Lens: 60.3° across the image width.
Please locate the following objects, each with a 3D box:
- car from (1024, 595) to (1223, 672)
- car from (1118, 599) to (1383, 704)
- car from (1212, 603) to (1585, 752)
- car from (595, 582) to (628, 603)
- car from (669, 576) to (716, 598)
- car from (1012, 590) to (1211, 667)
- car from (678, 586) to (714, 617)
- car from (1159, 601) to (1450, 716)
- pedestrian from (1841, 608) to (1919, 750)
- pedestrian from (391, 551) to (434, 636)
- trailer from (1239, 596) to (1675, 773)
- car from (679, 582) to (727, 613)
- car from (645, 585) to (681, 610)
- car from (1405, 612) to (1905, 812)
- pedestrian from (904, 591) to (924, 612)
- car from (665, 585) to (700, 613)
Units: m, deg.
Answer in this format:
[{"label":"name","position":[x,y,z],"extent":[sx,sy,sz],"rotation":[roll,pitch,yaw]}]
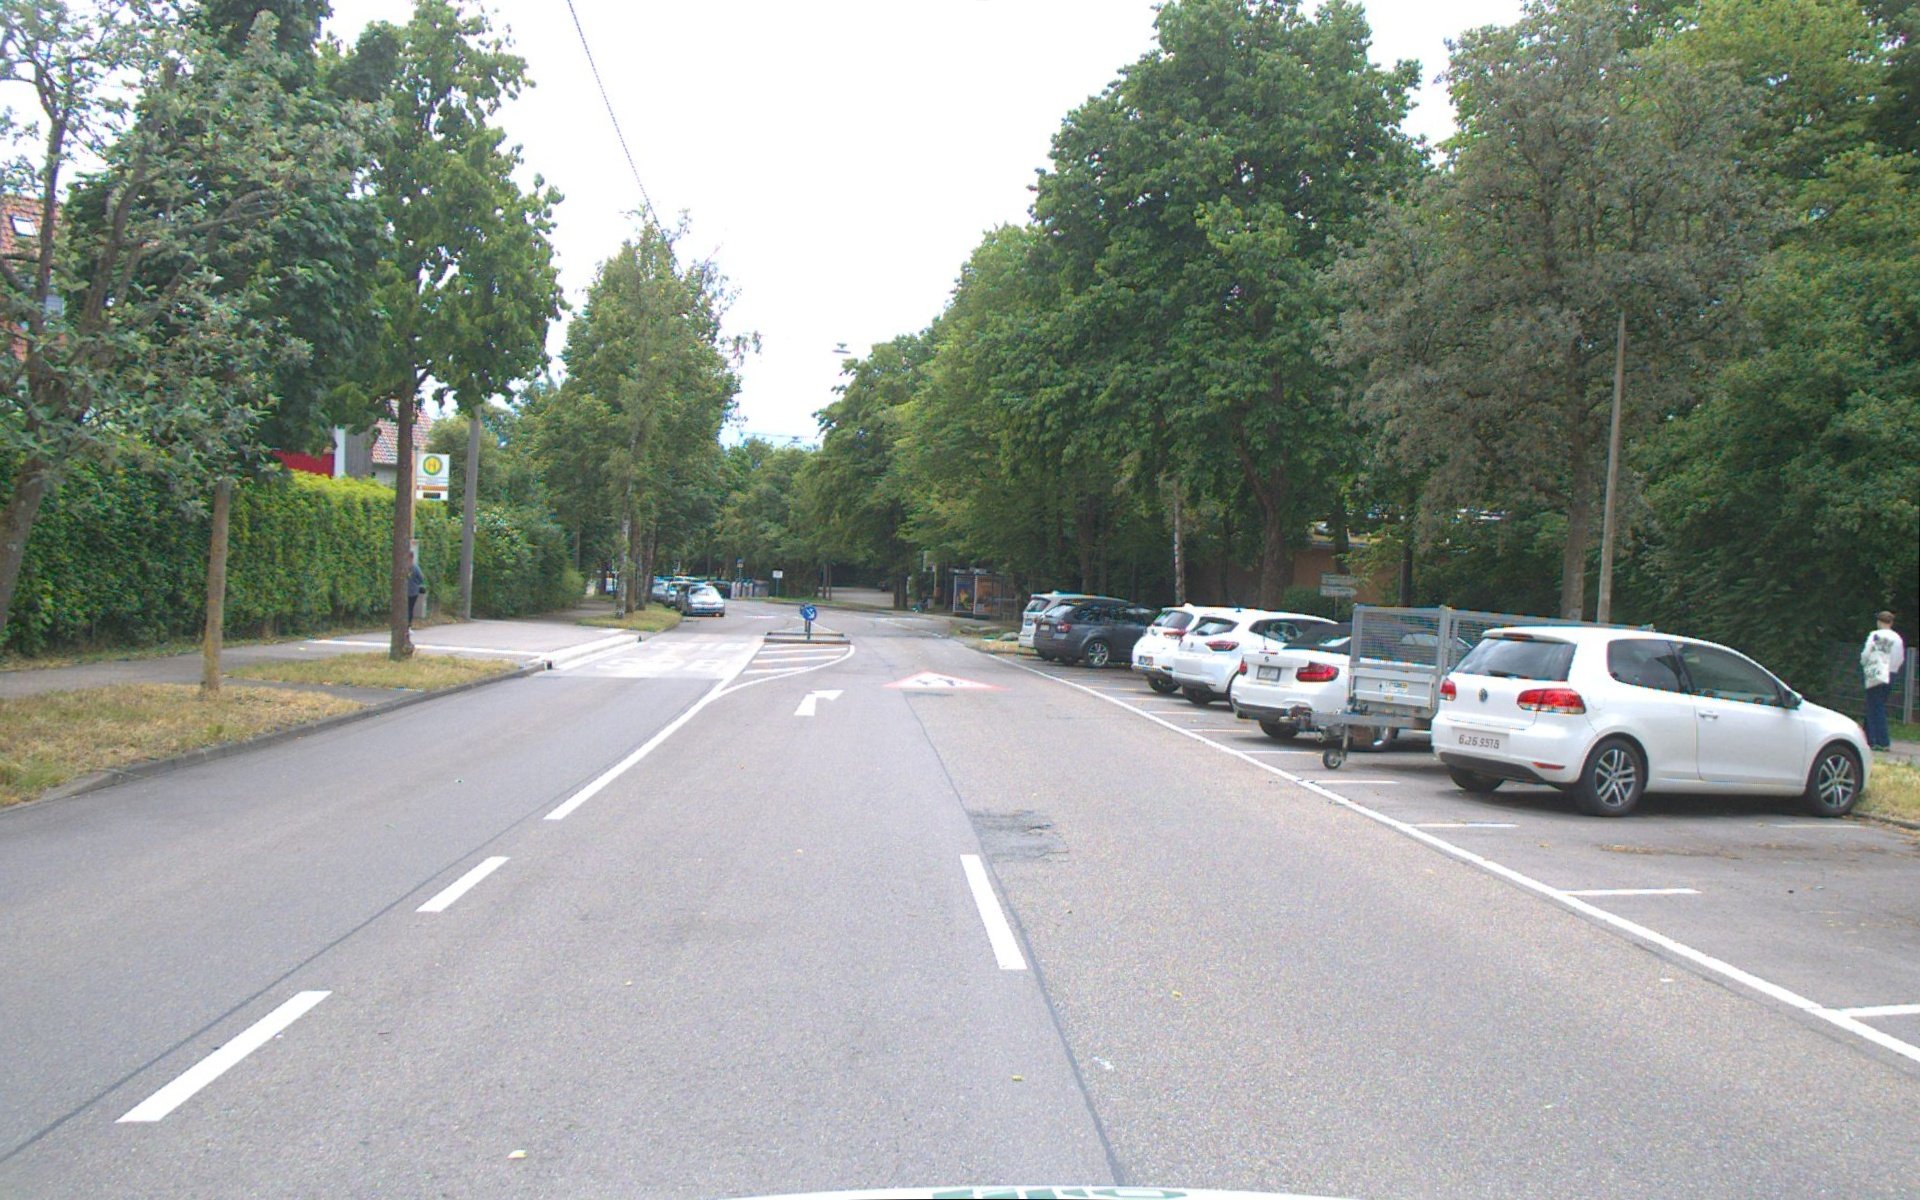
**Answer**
[{"label":"car","position":[3.675,0.750,37.428],"extent":[4.066,1.489,1.790],"rotation":[3,0,-16]},{"label":"car","position":[4.825,0.851,27.586],"extent":[3.928,1.489,1.856],"rotation":[3,0,-20]},{"label":"car","position":[5.094,0.904,19.199],"extent":[3.939,1.489,1.835],"rotation":[3,0,-27]},{"label":"car","position":[-27.961,-0.611,132.634],"extent":[1.780,1.590,4.237],"rotation":[-2,1,-23]},{"label":"car","position":[-24.428,-1.200,150.926],"extent":[3.802,1.750,1.848],"rotation":[5,-2,-45]},{"label":"car","position":[3.656,0.685,40.222],"extent":[4.393,1.613,1.900],"rotation":[3,0,-15]},{"label":"car","position":[-13.642,0.066,85.327],"extent":[1.704,1.565,4.178],"rotation":[0,0,-11]},{"label":"car","position":[5.181,0.876,24.954],"extent":[3.930,1.489,1.785],"rotation":[3,0,-21]},{"label":"pedestrian","position":[11.312,0.949,20.316],"extent":[0.677,1.672,0.778],"rotation":[2,0,17]},{"label":"pedestrian","position":[-11.495,-0.137,34.745],"extent":[0.679,1.740,0.776],"rotation":[2,0,-11]},{"label":"trailer","position":[4.917,0.831,16.398],"extent":[3.928,1.579,1.649],"rotation":[2,0,-20]},{"label":"car","position":[-12.345,-0.157,79.262],"extent":[1.708,1.441,4.451],"rotation":[0,1,-17]},{"label":"car","position":[-19.357,-0.154,107.675],"extent":[1.836,1.565,4.207],"rotation":[1,0,-17]},{"label":"car","position":[6.029,0.974,14.340],"extent":[3.935,1.489,1.778],"rotation":[3,0,-25]},{"label":"pedestrian","position":[-2.629,0.077,94.912],"extent":[1.046,1.203,0.577],"rotation":[1,0,-17]},{"label":"car","position":[-16.238,-0.058,96.775],"extent":[1.706,1.606,4.126],"rotation":[0,0,-14]}]
